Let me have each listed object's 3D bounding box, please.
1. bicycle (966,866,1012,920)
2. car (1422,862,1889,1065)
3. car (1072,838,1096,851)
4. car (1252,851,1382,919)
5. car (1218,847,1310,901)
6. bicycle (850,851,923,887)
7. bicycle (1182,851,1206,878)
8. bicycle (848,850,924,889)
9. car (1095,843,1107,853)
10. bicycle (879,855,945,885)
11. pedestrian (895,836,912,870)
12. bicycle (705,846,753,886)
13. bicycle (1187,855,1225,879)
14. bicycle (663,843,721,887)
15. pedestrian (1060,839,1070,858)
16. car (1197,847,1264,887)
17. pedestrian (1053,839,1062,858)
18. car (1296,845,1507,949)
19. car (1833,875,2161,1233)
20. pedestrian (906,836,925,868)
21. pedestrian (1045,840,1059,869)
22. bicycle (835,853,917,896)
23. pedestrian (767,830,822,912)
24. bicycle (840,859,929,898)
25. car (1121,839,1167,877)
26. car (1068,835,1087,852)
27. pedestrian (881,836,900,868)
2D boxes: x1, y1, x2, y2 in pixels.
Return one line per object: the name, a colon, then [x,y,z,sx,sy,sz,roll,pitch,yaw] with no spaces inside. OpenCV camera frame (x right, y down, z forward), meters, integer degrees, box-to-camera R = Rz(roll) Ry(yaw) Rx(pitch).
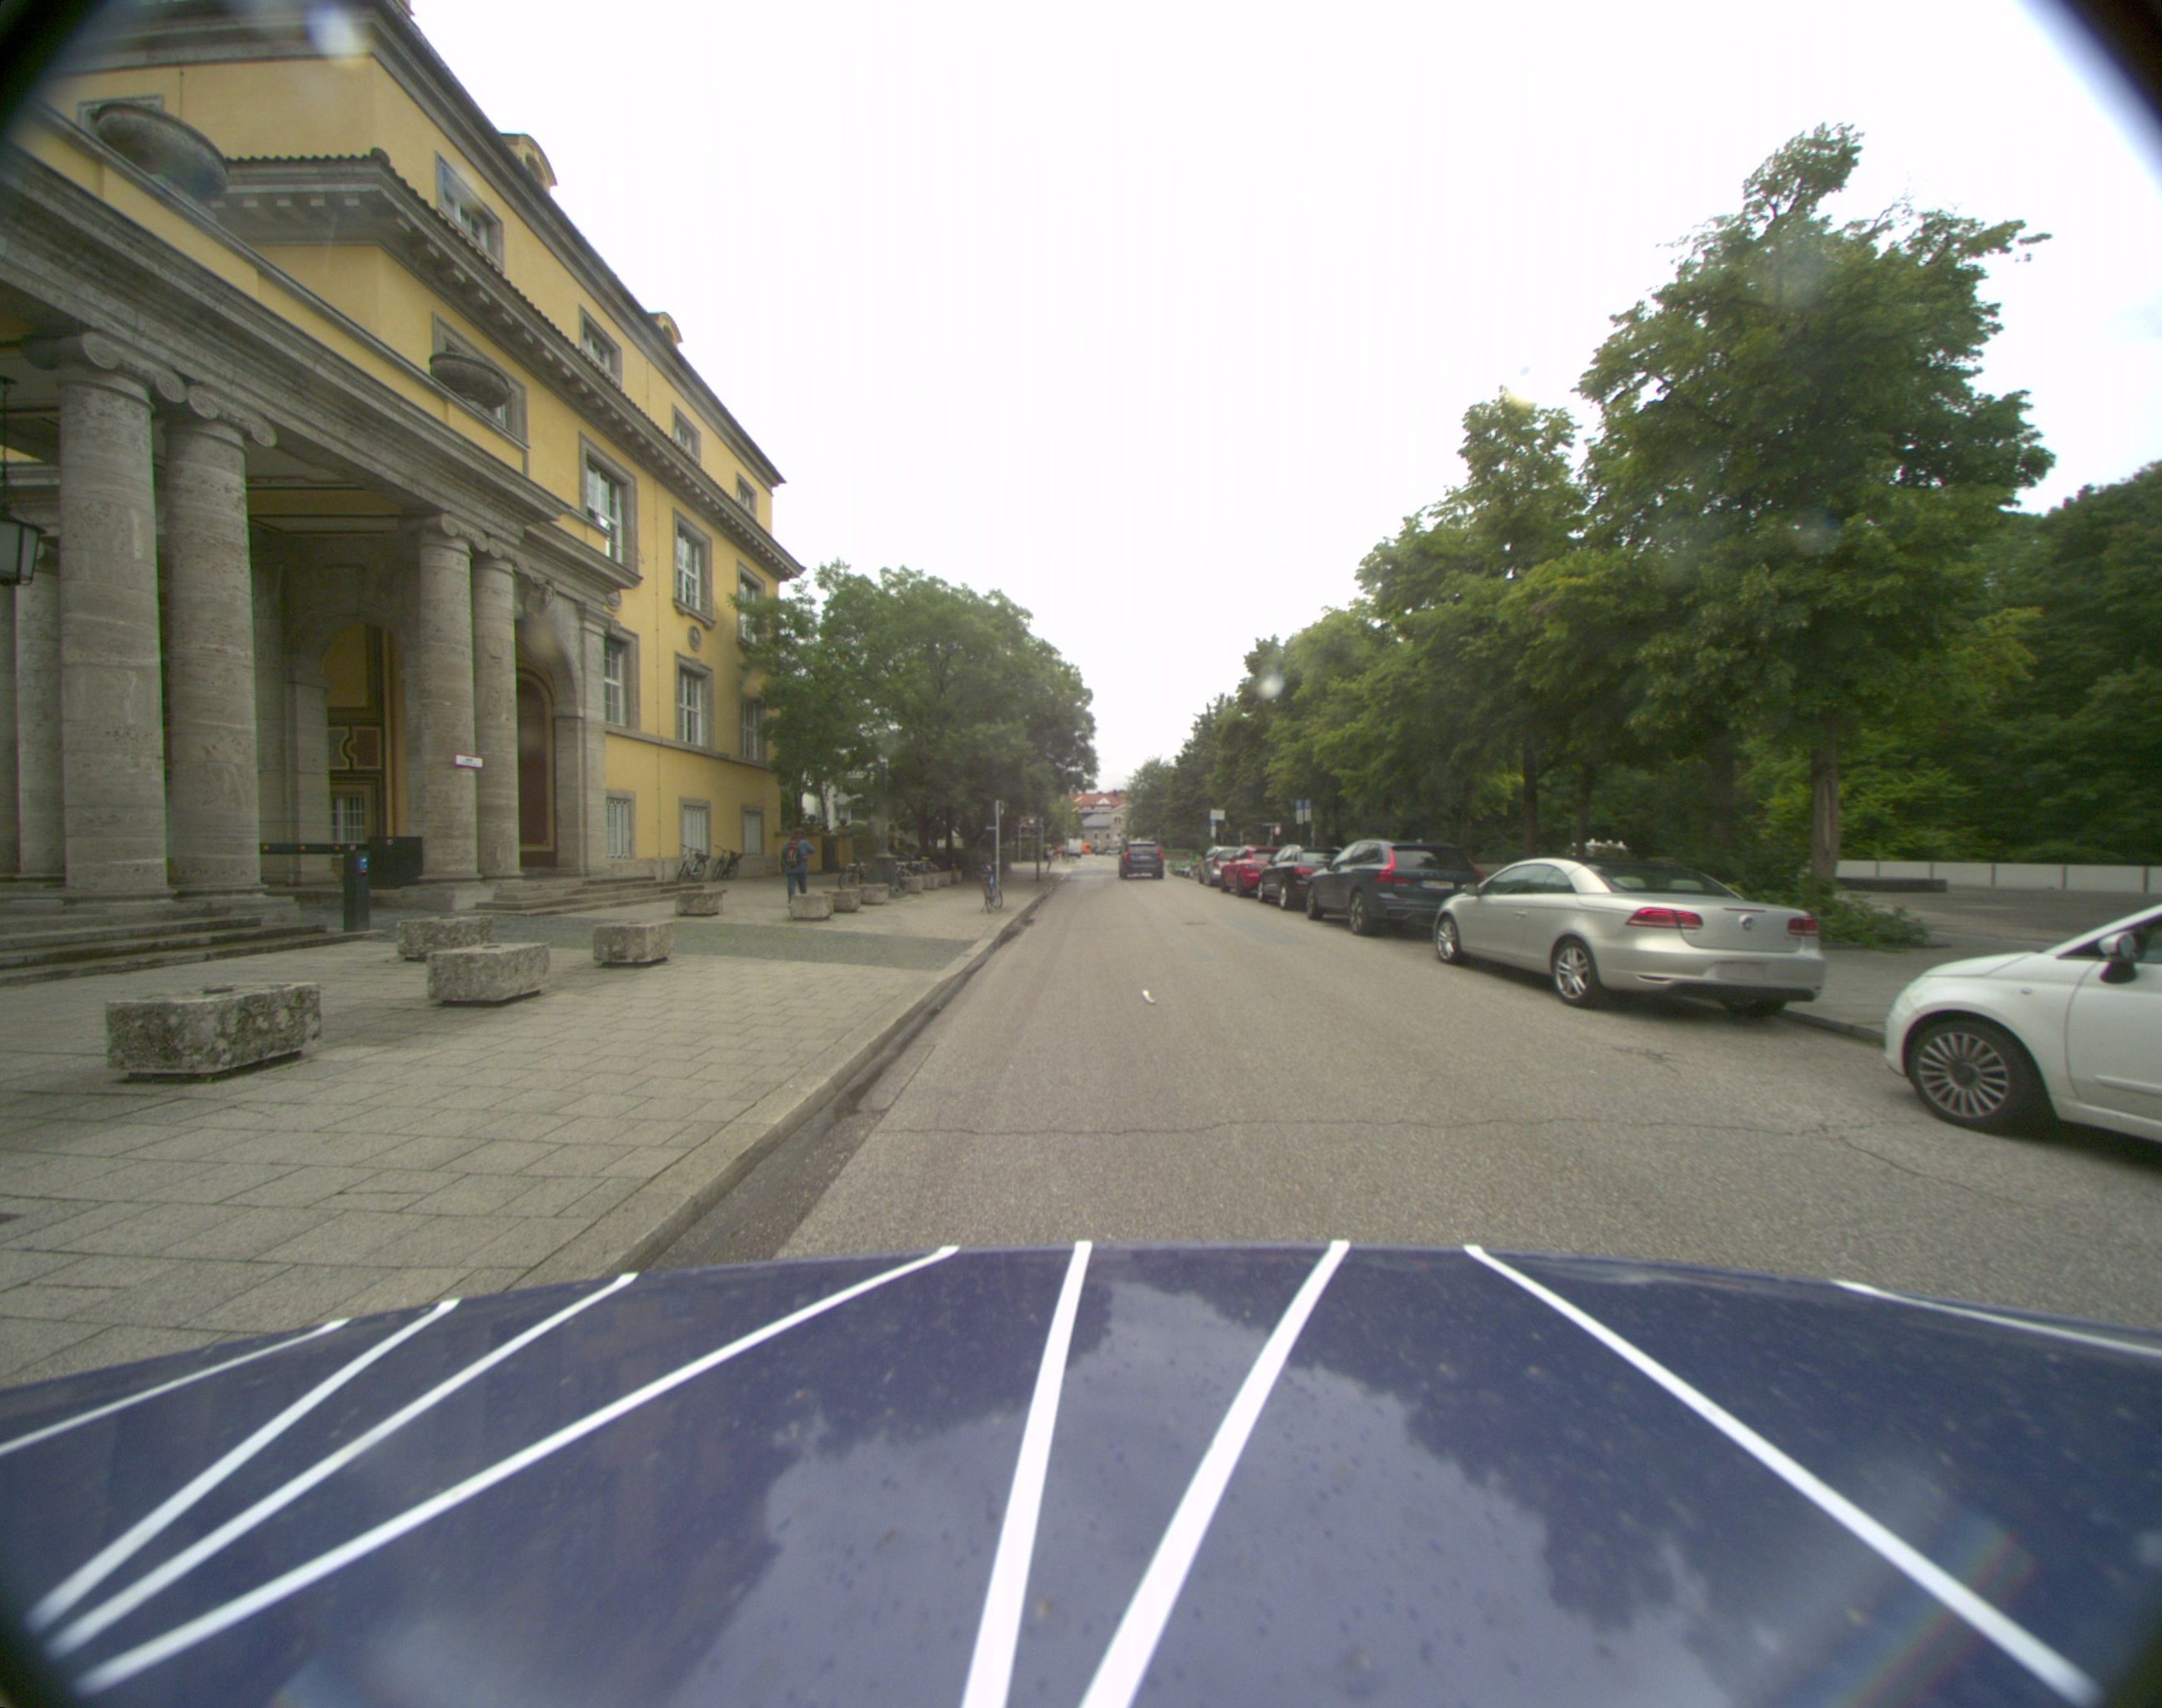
bicycle: [-2.115,0.873,17.800,0.762,1.094,2.263,2,1,0]
car: [5.392,0.870,8.005,1.762,1.392,4.217,3,1,2]
car: [0.662,-2.107,169.124,4.973,2.521,2.577,-1,2,44]
car: [5.785,0.675,19.291,1.998,1.452,4.647,1,1,2]
car: [5.712,0.572,24.230,1.998,1.535,4.364,1,1,2]
bicycle: [-6.551,0.494,25.701,2.265,1.018,0.601,5,1,-10]
bicycle: [5.624,0.502,37.685,0.574,1.275,1.421,-1,1,33]
bicycle: [-6.343,0.501,24.786,2.265,1.053,0.601,5,1,-10]
car: [3.933,-1.136,148.299,2.222,1.840,4.729,-3,2,1]
bicycle: [-6.182,0.575,27.852,2.261,1.005,0.602,2,1,3]
pedestrian: [-9.789,-0.066,41.892,0.659,1.855,0.820,3,2,1]
bicycle: [-11.981,0.386,25.939,0.601,1.299,2.164,1,1,1]
bicycle: [5.955,0.599,36.154,1.700,1.101,0.598,-1,2,-7]
bicycle: [-12.023,0.310,23.580,0.601,1.299,2.264,1,1,1]
pedestrian: [-1.612,-0.602,76.107,0.777,1.855,0.997,-3,2,-5]
car: [5.967,0.474,30.811,1.998,1.452,4.364,1,1,2]
pedestrian: [-2.338,-0.512,75.960,0.777,1.855,0.996,-3,2,-7]
car: [5.576,0.632,13.968,1.998,1.574,4.521,1,1,1]
car: [5.378,0.903,2.858,1.547,1.462,3.552,2,1,1]
pedestrian: [-9.787,-0.128,44.999,0.782,1.855,1.035,3,2,1]
pedestrian: [-1.761,0.016,46.198,0.798,1.722,0.660,-3,2,0]
bicycle: [-6.189,0.620,23.022,2.265,1.088,0.601,5,1,-10]
pedestrian: [-6.251,0.346,16.607,0.790,1.736,1.055,1,1,0]
bicycle: [-5.613,0.689,21.811,2.370,1.000,0.677,2,1,-8]
car: [2.965,0.156,36.682,1.965,1.672,4.911,2,1,2]
car: [-0.514,-1.513,106.276,2.236,2.289,4.728,-3,2,-4]
pedestrian: [-10.511,-0.134,41.887,0.741,1.734,0.841,3,2,1]
